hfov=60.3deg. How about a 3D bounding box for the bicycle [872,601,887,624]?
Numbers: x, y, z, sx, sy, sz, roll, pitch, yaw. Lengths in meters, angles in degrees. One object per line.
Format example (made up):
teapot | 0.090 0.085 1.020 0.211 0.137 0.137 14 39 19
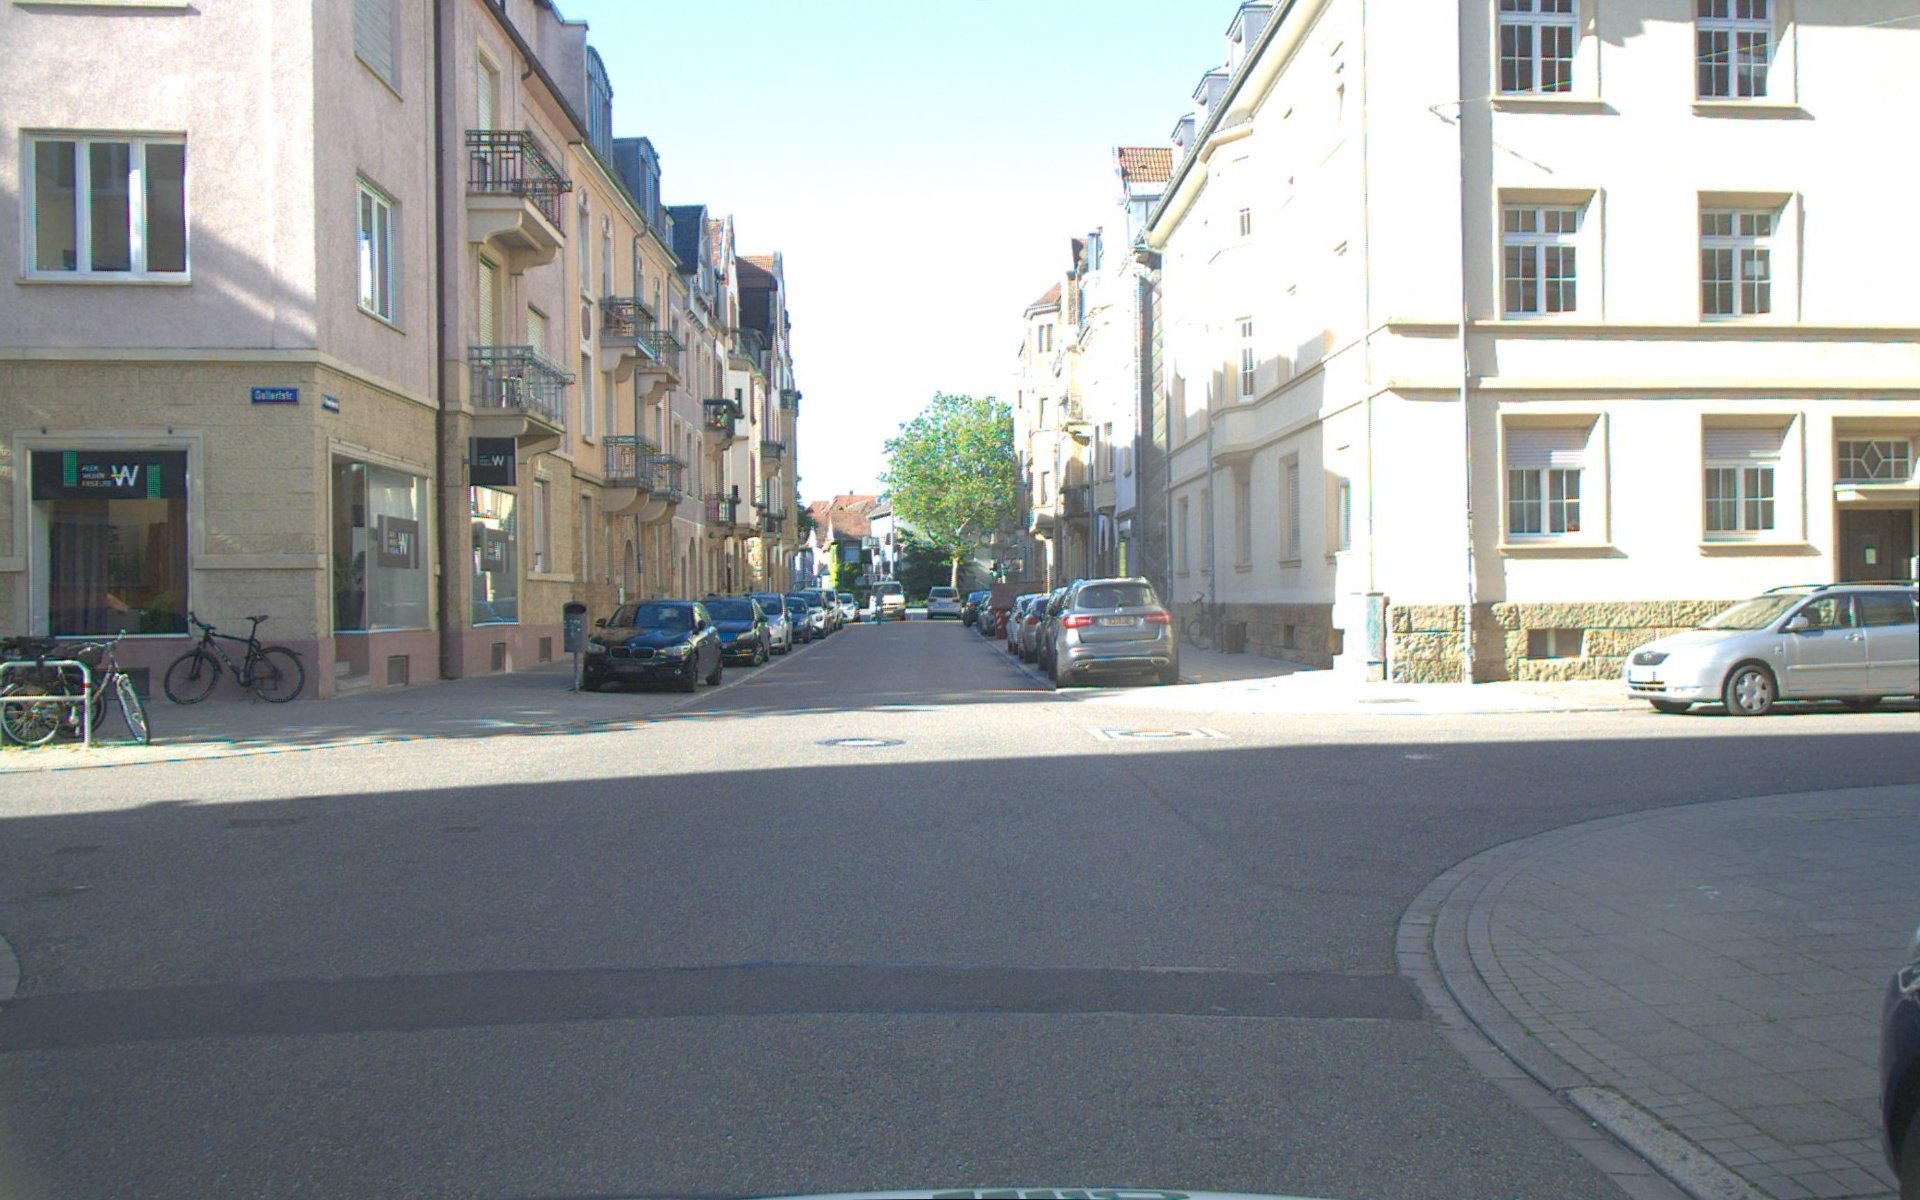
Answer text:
bicycle | -3.722 0.570 76.723 0.649 1.037 2.065 -3 -1 -2

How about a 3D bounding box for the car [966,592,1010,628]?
car | 1.224 0.489 74.589 1.801 1.456 4.027 -2 -2 -1

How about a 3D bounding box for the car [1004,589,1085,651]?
car | 2.149 0.533 42.988 1.801 1.456 4.027 -2 -1 -1

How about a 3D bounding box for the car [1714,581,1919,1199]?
car | 2.896 0.687 2.070 1.728 1.496 4.081 -3 0 -5

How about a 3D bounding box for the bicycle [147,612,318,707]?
bicycle | -9.242 0.748 21.069 1.863 1.155 0.647 0 2 -9

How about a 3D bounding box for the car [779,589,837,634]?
car | -5.844 0.443 63.979 1.963 1.647 4.485 1 -1 -2

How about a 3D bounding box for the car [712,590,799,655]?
car | -5.494 0.600 44.949 1.963 1.647 4.485 1 -1 -2

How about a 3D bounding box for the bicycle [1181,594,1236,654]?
bicycle | 5.444 0.508 36.379 0.746 1.268 2.591 -1 0 -2

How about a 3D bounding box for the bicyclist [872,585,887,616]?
bicyclist | -3.734 0.033 76.746 0.649 1.410 0.753 -2 -1 -3

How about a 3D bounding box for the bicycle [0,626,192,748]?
bicycle | -8.852 0.864 16.691 1.859 1.155 0.648 -1 2 -1

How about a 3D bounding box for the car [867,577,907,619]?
car | -3.742 -0.076 84.816 1.963 2.035 4.485 1 -1 -2

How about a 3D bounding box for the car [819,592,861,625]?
car | -6.119 0.457 84.981 1.963 1.633 4.485 1 -1 -2

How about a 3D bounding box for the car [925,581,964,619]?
car | -0.857 0.046 88.687 1.963 1.947 4.485 1 -1 -2

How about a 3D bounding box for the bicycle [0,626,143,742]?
bicycle | -9.655 0.877 17.371 1.859 1.155 0.526 -1 2 -1

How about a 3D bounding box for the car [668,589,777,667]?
car | -5.291 0.615 37.388 1.963 1.610 4.485 1 -1 -2

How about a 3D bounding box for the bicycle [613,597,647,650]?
bicycle | -8.509 0.594 42.679 0.530 1.324 1.866 0 0 0

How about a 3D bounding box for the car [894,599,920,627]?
car | -4.098 1.005 127.832 1.963 2.035 4.485 1 -1 -2

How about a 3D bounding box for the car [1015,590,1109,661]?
car | 2.261 0.599 37.597 1.801 1.456 4.027 -2 -1 -1

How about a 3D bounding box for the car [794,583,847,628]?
car | -5.828 0.245 69.459 1.963 1.819 4.485 1 -1 -2

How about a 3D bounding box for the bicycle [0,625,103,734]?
bicycle | -10.627 0.882 18.386 1.861 1.155 0.526 -1 2 -4

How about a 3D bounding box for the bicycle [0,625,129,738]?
bicycle | -10.058 0.879 17.845 1.861 1.155 0.526 -1 2 -4

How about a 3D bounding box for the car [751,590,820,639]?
car | -5.646 0.483 54.012 1.939 1.508 4.326 1 -1 -2

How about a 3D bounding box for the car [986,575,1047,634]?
car | 1.869 0.192 55.783 1.801 1.818 4.027 -1 -2 -1

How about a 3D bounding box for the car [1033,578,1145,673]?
car | 2.392 0.501 31.535 1.710 1.636 4.027 -2 -1 -1

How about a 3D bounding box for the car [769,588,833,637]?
car | -5.576 0.447 58.559 1.963 1.647 4.485 1 -1 -2

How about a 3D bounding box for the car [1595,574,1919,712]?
car | 10.098 0.489 19.619 4.453 1.494 1.825 -1 -2 -8

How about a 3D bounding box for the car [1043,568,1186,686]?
car | 2.408 0.446 26.914 1.874 1.673 4.773 -2 -1 1

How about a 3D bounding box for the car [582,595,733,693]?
car | -4.863 0.684 27.106 1.645 1.451 4.273 1 -1 0
